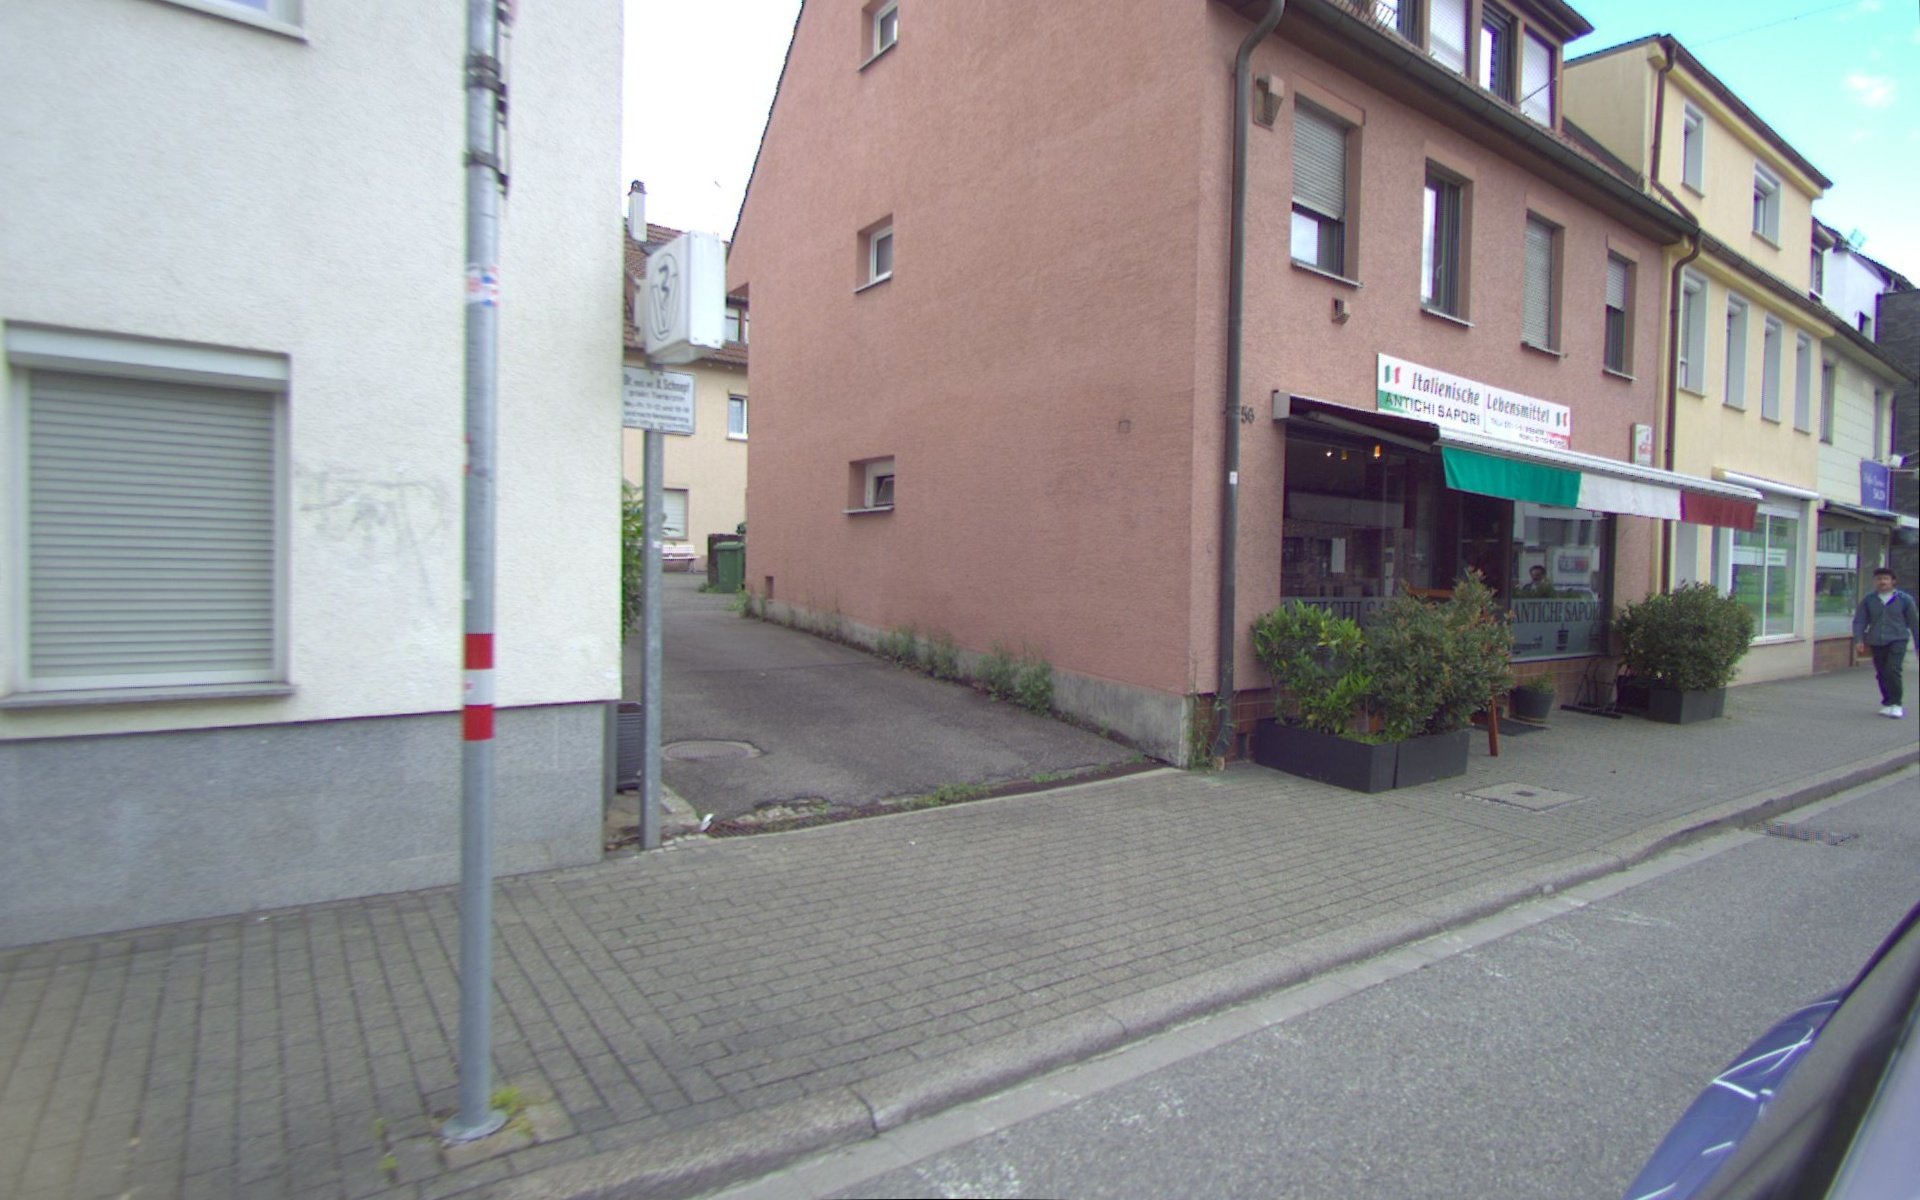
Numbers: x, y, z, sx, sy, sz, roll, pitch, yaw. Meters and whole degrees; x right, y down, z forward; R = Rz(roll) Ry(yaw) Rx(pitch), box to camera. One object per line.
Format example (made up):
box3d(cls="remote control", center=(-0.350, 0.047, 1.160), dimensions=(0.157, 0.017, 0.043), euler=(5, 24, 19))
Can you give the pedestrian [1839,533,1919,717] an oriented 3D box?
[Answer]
box3d(cls="pedestrian", center=(11.324, 0.270, 12.159), dimensions=(0.992, 2.099, 0.827), euler=(0, 5, -38))
